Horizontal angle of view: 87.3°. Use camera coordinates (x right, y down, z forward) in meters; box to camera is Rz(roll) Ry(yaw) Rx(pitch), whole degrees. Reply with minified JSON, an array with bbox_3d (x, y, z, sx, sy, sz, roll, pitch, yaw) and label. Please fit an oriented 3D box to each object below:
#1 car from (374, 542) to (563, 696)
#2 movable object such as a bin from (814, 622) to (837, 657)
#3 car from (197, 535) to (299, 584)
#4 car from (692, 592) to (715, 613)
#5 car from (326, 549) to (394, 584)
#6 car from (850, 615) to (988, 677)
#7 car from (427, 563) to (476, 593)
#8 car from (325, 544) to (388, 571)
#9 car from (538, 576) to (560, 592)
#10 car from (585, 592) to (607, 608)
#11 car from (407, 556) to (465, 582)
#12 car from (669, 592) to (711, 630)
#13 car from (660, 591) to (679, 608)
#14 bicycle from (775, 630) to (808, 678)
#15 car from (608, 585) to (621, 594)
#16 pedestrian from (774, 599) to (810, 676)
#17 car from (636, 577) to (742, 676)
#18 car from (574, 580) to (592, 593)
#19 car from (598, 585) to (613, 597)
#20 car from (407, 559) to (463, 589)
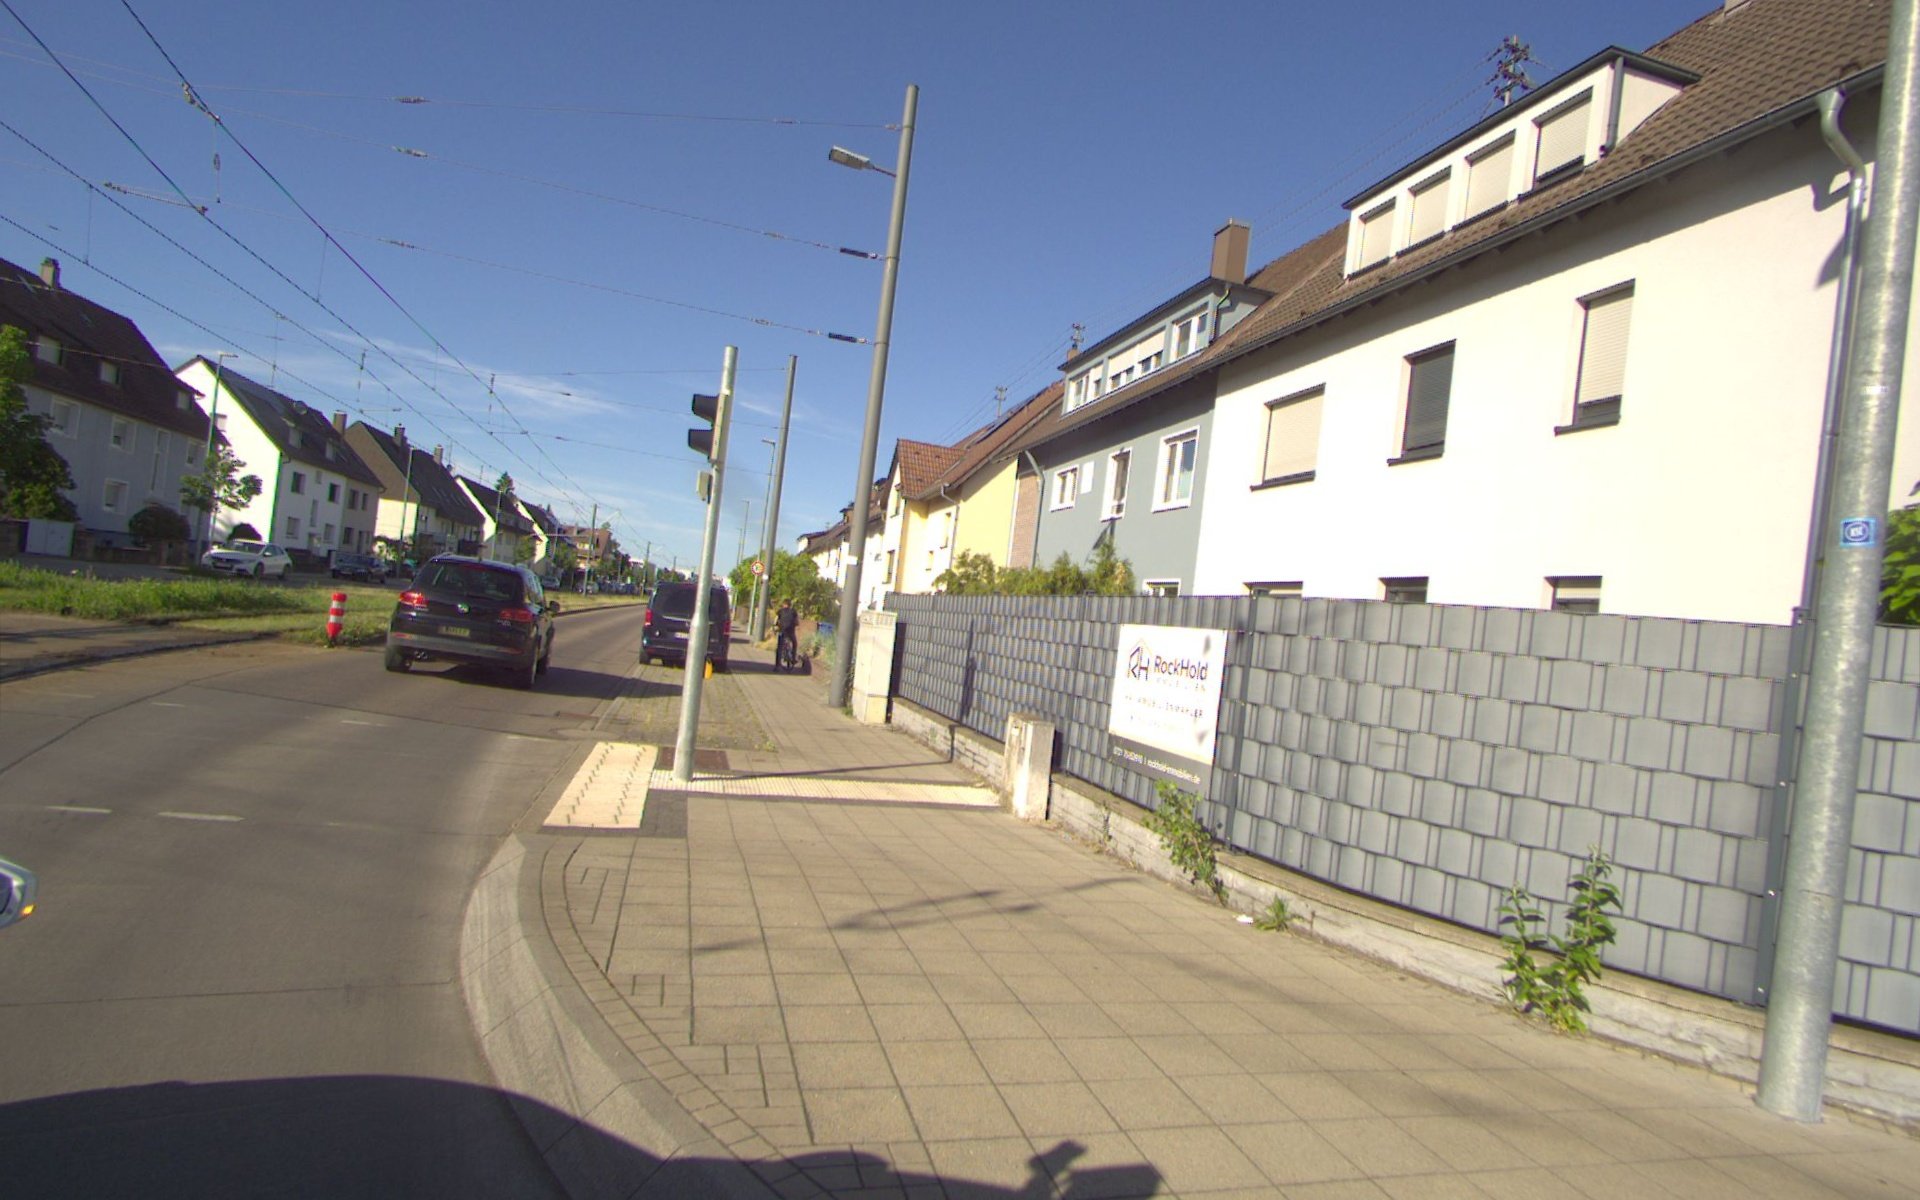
[{"bbox_3d":[-6.992,0.251,14.758,1.793,1.689,4.241,9,-3,-19],"label":"car"},{"bbox_3d":[-4.609,1.338,34.389,0.660,1.128,0.317,6,0,-14],"label":"movable object such as a bin"},{"bbox_3d":[-27.761,-1.547,39.398,1.671,1.536,4.205,7,-1,-13],"label":"car"},{"bbox_3d":[-26.148,0.231,102.667,1.968,1.884,4.906,7,-1,-14],"label":"car"},{"bbox_3d":[-31.404,-1.721,52.772,1.768,1.480,4.157,7,-1,-13],"label":"car"},{"bbox_3d":[-1.393,1.510,33.318,4.115,1.485,1.894,7,0,-16],"label":"car"},{"bbox_3d":[-28.356,-1.197,56.183,1.530,1.428,3.650,7,-1,-13],"label":"car"},{"bbox_3d":[-52.002,-3.608,86.684,4.104,1.673,1.854,8,-1,-11],"label":"car"},{"bbox_3d":[-45.075,-1.739,110.385,1.598,1.424,3.712,7,-3,-13],"label":"car"},{"bbox_3d":[-41.460,0.025,114.613,1.686,1.507,4.018,7,-3,-13],"label":"car"},{"bbox_3d":[-46.399,-2.737,89.138,4.118,1.636,1.753,8,-1,-18],"label":"car"},{"bbox_3d":[-12.580,0.493,47.078,1.644,1.566,3.827,5,-1,-13],"label":"car"},{"bbox_3d":[-28.616,-0.047,99.078,1.553,1.407,3.605,7,-1,-14],"label":"car"},{"bbox_3d":[-3.951,1.242,23.509,0.593,0.991,1.559,5,-1,-13],"label":"bicycle"},{"bbox_3d":[-55.064,-1.660,160.220,1.496,1.377,3.581,7,-1,-15],"label":"car"},{"bbox_3d":[-3.961,0.876,23.697,0.575,1.744,0.713,7,0,-14],"label":"pedestrian"},{"bbox_3d":[-6.283,0.565,23.410,1.938,1.858,4.914,7,-2,-15],"label":"car"},{"bbox_3d":[-49.859,-1.813,132.984,1.638,1.514,3.571,7,-1,-13],"label":"car"},{"bbox_3d":[-54.526,-1.362,154.831,1.639,1.598,3.994,7,-3,-13],"label":"car"},{"bbox_3d":[-34.749,-1.666,66.751,1.853,1.540,4.872,8,-2,-11],"label":"car"}]
